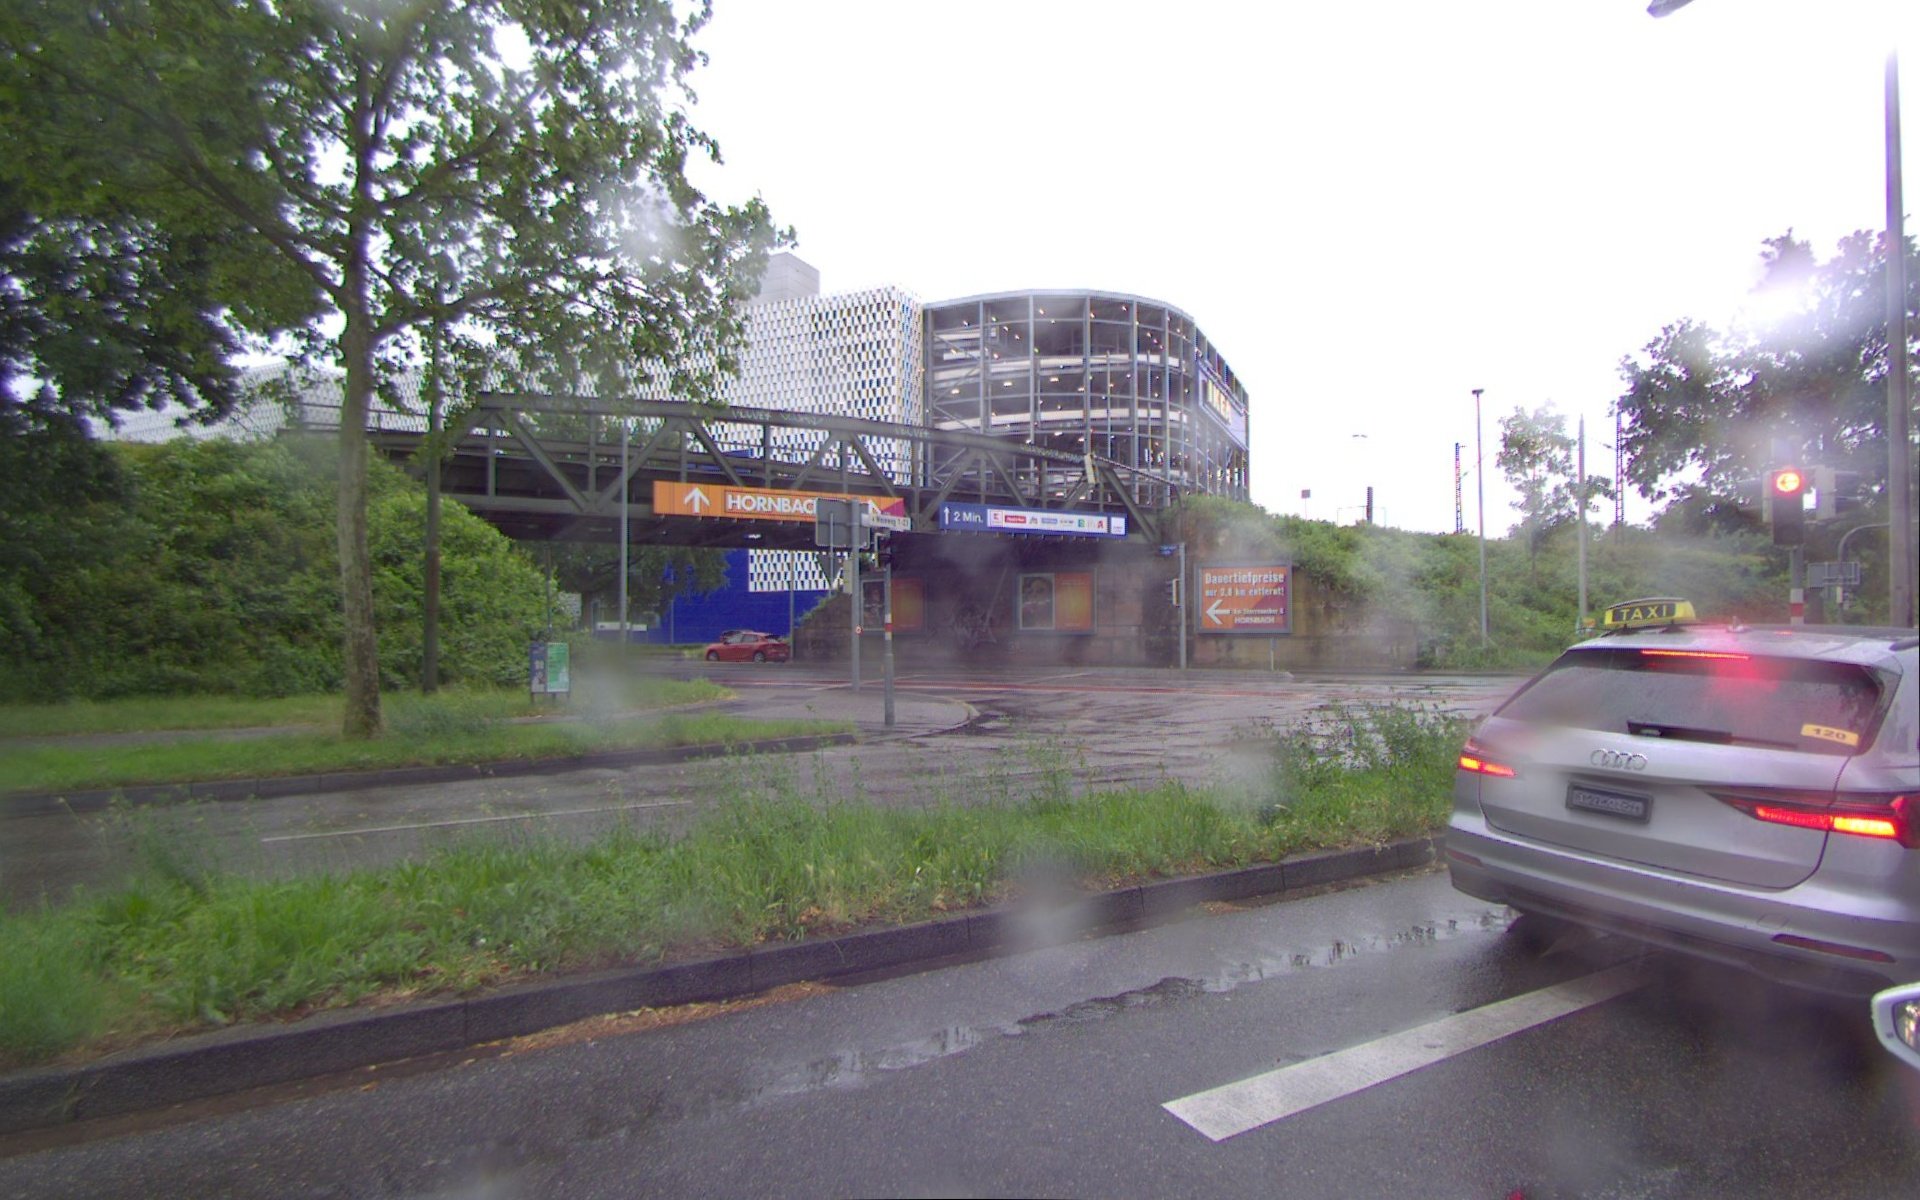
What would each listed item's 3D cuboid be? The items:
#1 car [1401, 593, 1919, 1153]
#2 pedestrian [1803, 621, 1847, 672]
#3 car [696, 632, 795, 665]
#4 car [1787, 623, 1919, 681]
[{"bbox_3d":[4.389,0.812,4.802,4.766,1.595,1.760,1,0,-31],"label":"car"},{"bbox_3d":[32.378,1.733,37.601,1.122,1.871,1.092,2,-2,-41],"label":"pedestrian"},{"bbox_3d":[-9.648,2.151,45.193,4.131,1.392,1.746,0,-2,24],"label":"car"},{"bbox_3d":[26.357,1.453,28.465,4.166,1.580,1.746,-1,-2,24],"label":"car"}]
